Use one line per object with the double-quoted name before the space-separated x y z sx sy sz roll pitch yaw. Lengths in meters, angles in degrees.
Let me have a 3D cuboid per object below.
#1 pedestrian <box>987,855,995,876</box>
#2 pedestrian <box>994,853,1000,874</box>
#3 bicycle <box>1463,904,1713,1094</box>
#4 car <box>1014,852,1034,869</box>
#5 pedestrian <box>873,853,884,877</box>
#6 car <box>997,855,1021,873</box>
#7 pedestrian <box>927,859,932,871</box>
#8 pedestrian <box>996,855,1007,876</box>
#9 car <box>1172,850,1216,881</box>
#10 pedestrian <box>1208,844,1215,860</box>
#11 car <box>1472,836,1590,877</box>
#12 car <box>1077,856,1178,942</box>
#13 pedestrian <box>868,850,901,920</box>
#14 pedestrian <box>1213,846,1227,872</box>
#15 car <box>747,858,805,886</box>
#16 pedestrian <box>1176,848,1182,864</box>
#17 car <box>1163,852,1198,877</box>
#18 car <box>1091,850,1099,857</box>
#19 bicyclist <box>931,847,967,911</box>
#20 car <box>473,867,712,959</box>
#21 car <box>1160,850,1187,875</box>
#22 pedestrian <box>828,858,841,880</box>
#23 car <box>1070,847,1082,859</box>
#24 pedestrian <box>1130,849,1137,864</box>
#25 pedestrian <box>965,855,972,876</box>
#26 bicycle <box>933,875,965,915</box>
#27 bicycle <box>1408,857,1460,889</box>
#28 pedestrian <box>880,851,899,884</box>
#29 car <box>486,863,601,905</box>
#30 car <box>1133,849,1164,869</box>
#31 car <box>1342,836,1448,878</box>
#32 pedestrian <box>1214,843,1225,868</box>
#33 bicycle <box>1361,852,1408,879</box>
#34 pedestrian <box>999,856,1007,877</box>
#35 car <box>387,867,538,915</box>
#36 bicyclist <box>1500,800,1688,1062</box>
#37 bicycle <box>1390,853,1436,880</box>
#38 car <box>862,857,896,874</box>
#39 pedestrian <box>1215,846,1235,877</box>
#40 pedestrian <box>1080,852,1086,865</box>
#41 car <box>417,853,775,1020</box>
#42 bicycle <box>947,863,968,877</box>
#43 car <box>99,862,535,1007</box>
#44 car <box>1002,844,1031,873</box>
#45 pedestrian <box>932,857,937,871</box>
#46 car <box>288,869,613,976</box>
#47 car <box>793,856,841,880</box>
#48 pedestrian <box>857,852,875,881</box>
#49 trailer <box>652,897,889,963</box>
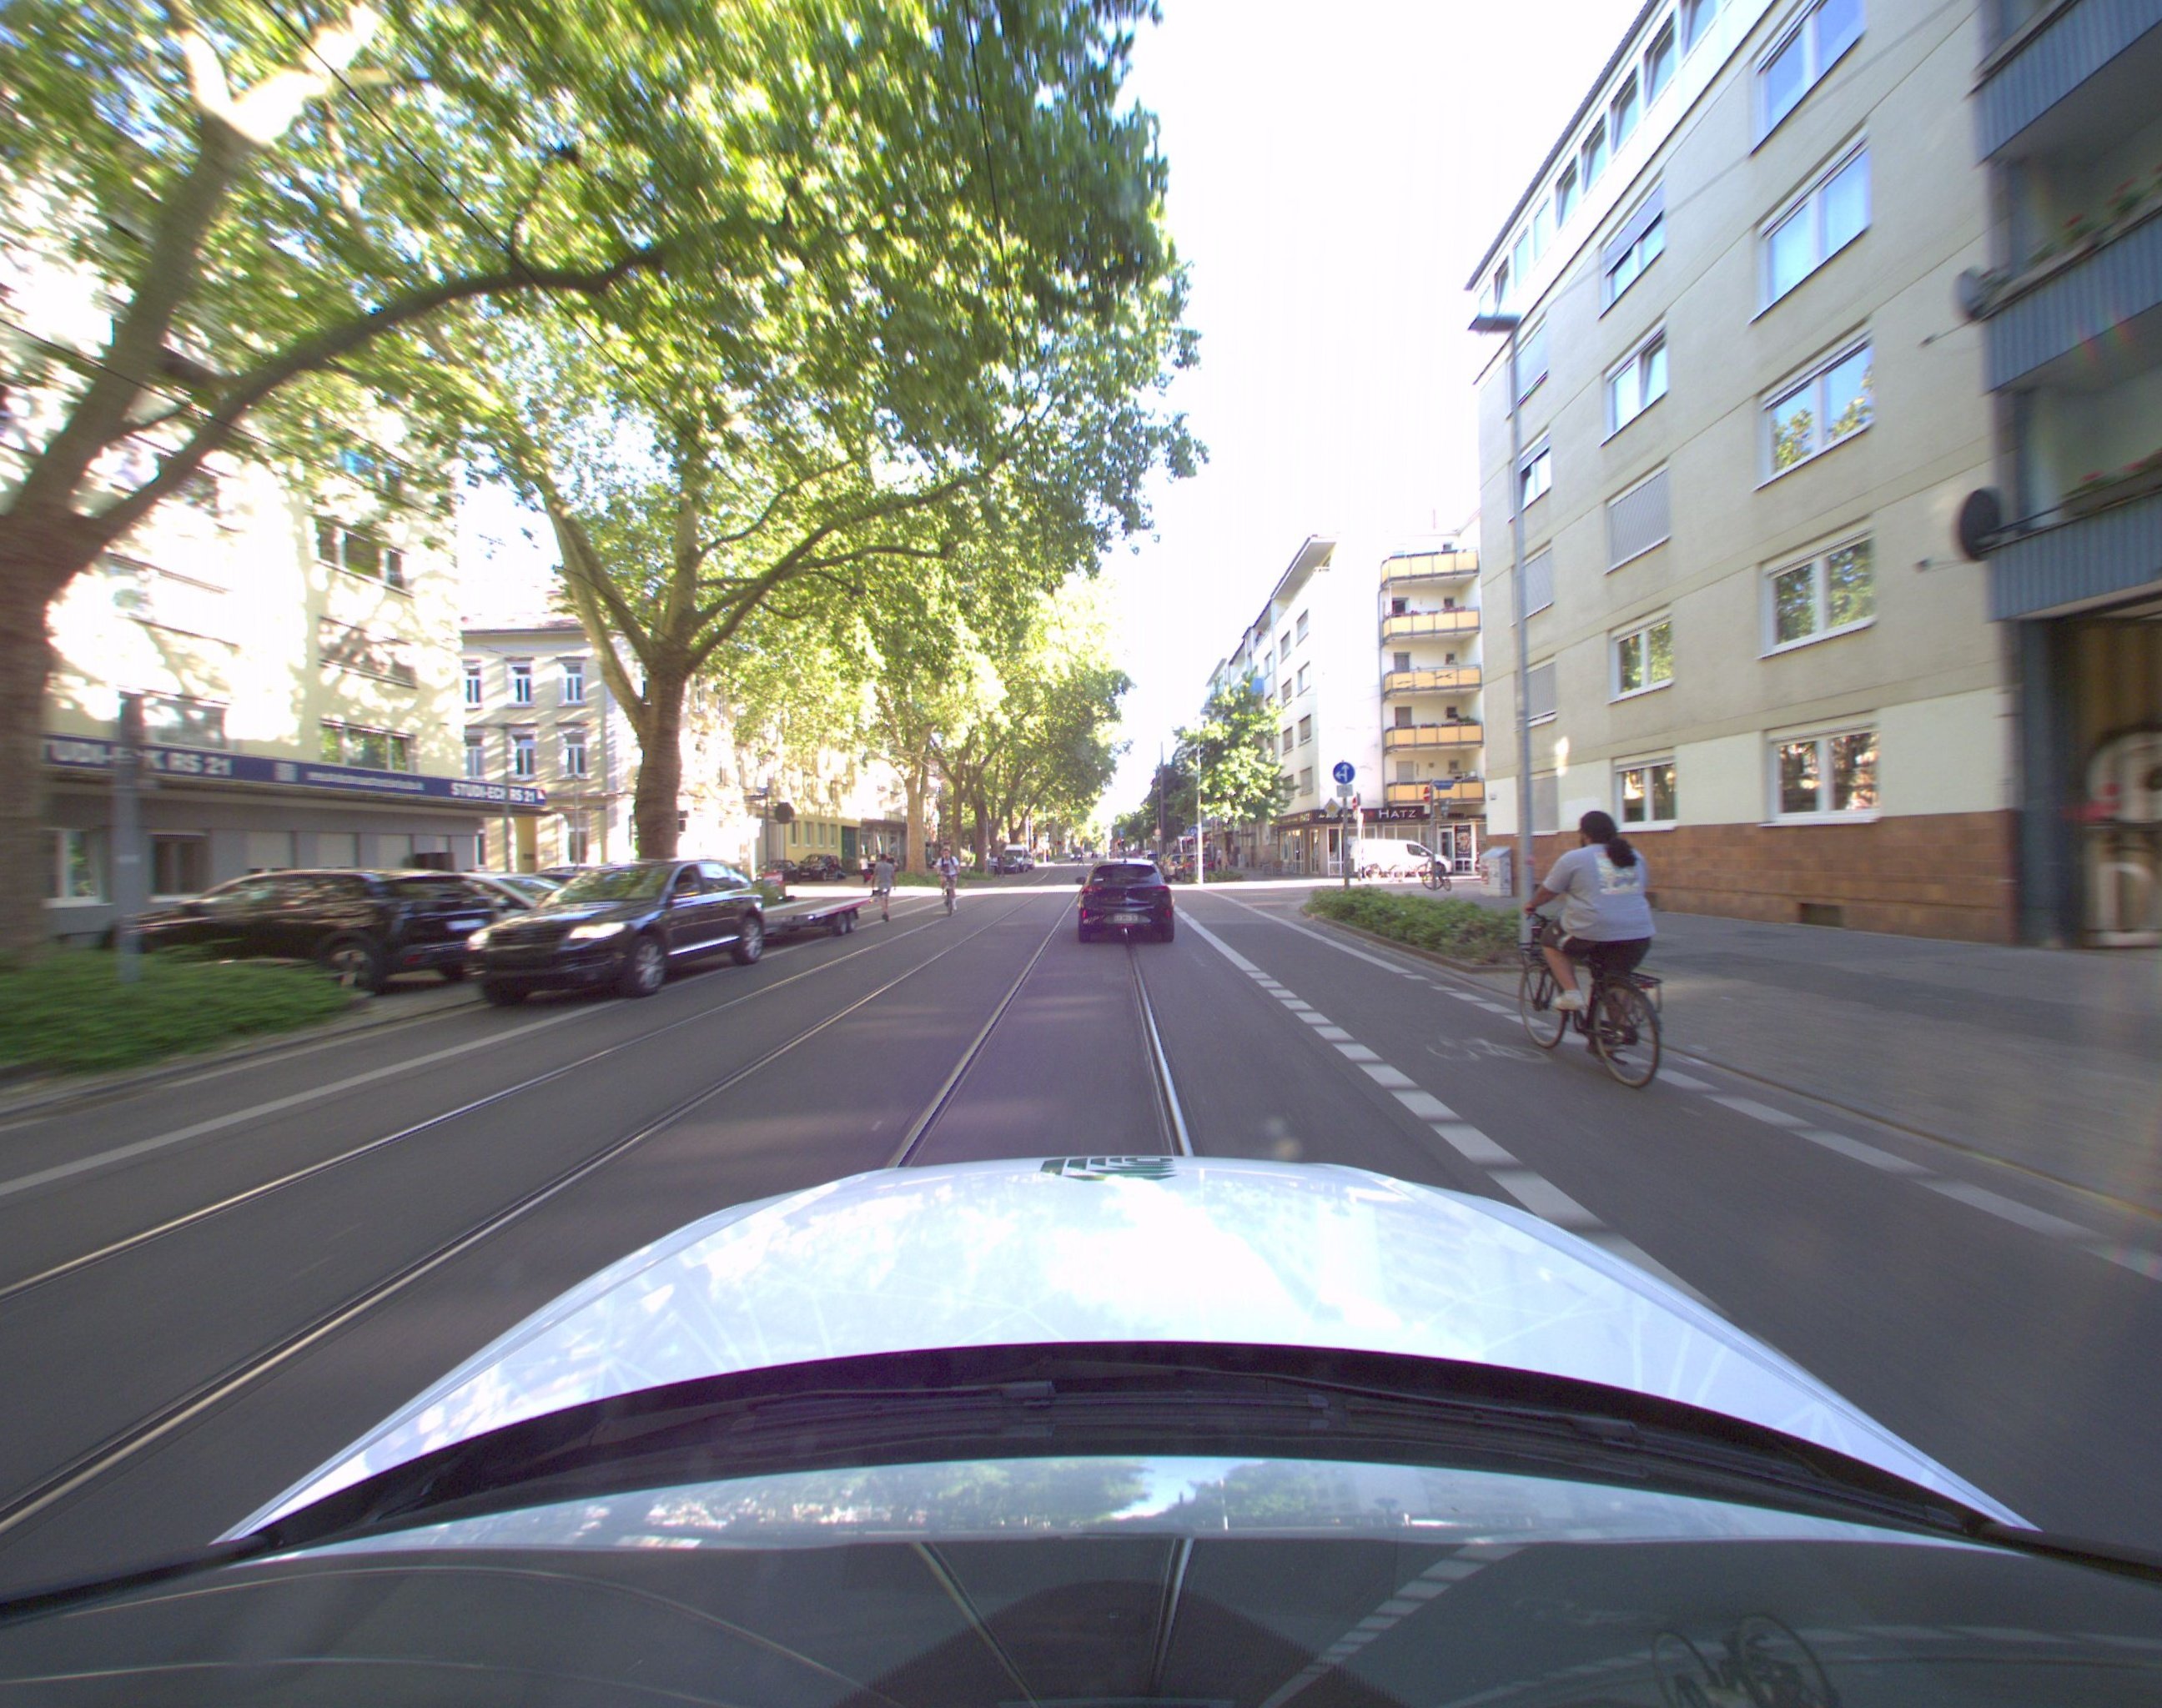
"pedestrian" -6.844 0.854 61.809 0.505 1.583 0.526 -1 0 -2
"pedestrian" -6.374 0.715 61.911 0.345 1.583 0.508 -1 0 0
"bicycle" 3.695 0.984 6.177 0.698 1.092 1.990 0 0 1
"car" -6.172 0.685 88.513 1.990 1.717 3.995 -2 0 -4
"pedestrian" -14.483 0.780 58.310 0.549 1.652 0.650 -2 0 5
"car" -6.308 0.841 71.594 1.749 1.508 3.997 -2 0 -2
"pedestrian" -17.323 1.217 93.113 0.505 1.333 0.526 -1 0 -1
"pedestrian" -6.101 0.897 62.534 0.681 1.583 0.557 -1 0 0
"car" 6.235 0.609 45.255 1.714 1.574 4.081 -2 0 -2
"pedestrian" 13.737 -0.212 85.548 0.626 1.732 0.633 -2 0 8
"car" 19.138 0.117 34.746 3.990 1.606 1.804 -2 0 1
"car" 0.821 0.748 15.319 1.674 1.422 3.628 0 0 1
"pedestrian" -5.094 0.784 21.147 0.712 1.735 0.909 -3 0 -13
"pedestrian" 9.574 0.369 56.122 0.789 1.748 0.771 -2 0 4
"car" -17.470 0.984 46.858 1.675 1.464 4.002 -2 0 2
"pedestrian" 10.746 0.224 89.545 0.626 1.732 0.633 -2 0 6
"car" 6.174 0.627 50.856 1.712 1.490 3.681 -2 0 0
"car" 3.371 -0.164 201.263 1.742 1.651 4.004 -1 0 3
"bicyclist" -3.584 0.658 22.128 0.782 1.678 0.957 -2 0 -1
"car" -9.208 1.081 15.582 3.421 1.530 1.786 -2 0 -2
"car" 6.203 0.568 54.911 1.644 1.574 3.086 -2 0 3
"pedestrian" -15.717 0.966 51.943 0.549 1.403 0.650 -2 0 5
"car" -0.991 -0.227 151.771 1.989 2.211 5.098 -2 0 -2
"pedestrian" 7.552 0.327 116.845 0.853 2.013 1.070 -6 -1 2
"pedestrian" -8.596 0.906 62.134 0.507 1.583 0.525 -1 0 -11
"bicycle" -3.564 1.092 22.163 0.519 0.962 1.928 -2 0 0
"bicycle" 11.968 0.639 27.657 0.801 1.015 1.966 -2 0 -4
"pedestrian" -11.310 0.799 48.096 0.903 1.869 0.643 -2 0 -4
"car" -23.384 1.296 35.535 3.632 1.584 2.002 -2 3 2
"car" 5.623 0.400 68.200 1.990 1.640 3.994 -1 0 -5
"car" 15.175 0.136 39.519 4.348 1.831 1.998 -2 0 -3
"pedestrian" 9.396 0.123 55.305 0.597 1.651 0.631 -2 0 3
"bicycle" 13.540 0.519 36.383 1.827 1.117 0.704 -2 0 4
"pedestrian" -5.908 0.915 61.839 0.505 1.583 0.527 -1 0 1
"car" -22.340 1.309 29.557 3.977 1.535 1.820 -2 0 -2
"bicyclist" 3.715 0.523 5.982 0.784 1.759 0.915 -1 0 1
"bicycle" 14.311 0.551 35.165 1.759 1.117 0.616 -2 0 14
"car" -16.481 0.900 66.490 1.689 1.276 3.829 -2 0 2
"pedestrian" 7.660 0.380 43.293 0.847 1.616 0.774 -2 0 22
"pedestrian" 0.211 0.530 100.672 0.594 1.590 0.891 -2 0 -5
"car" -6.106 0.896 11.067 1.986 1.700 4.486 -3 0 2
"bicycle" -9.365 1.201 61.786 1.674 1.062 0.455 0 -1 31
"car" -9.972 0.991 10.899 3.974 1.647 1.894 -1 0 0
"car" -6.111 0.396 77.769 2.085 2.584 5.998 -2 0 1
"pedestrian" -16.656 1.127 92.678 0.505 1.583 0.526 -1 0 -1
"car" -10.325 1.079 13.568 3.974 1.522 1.771 -1 0 0
"car" -17.274 0.888 53.464 1.675 1.517 4.002 0 0 2
"pedestrian" -12.589 0.720 47.756 0.845 1.632 0.643 -2 0 -4
"trailer" -5.834 1.406 16.498 2.153 0.632 6.402 -2 0 2
